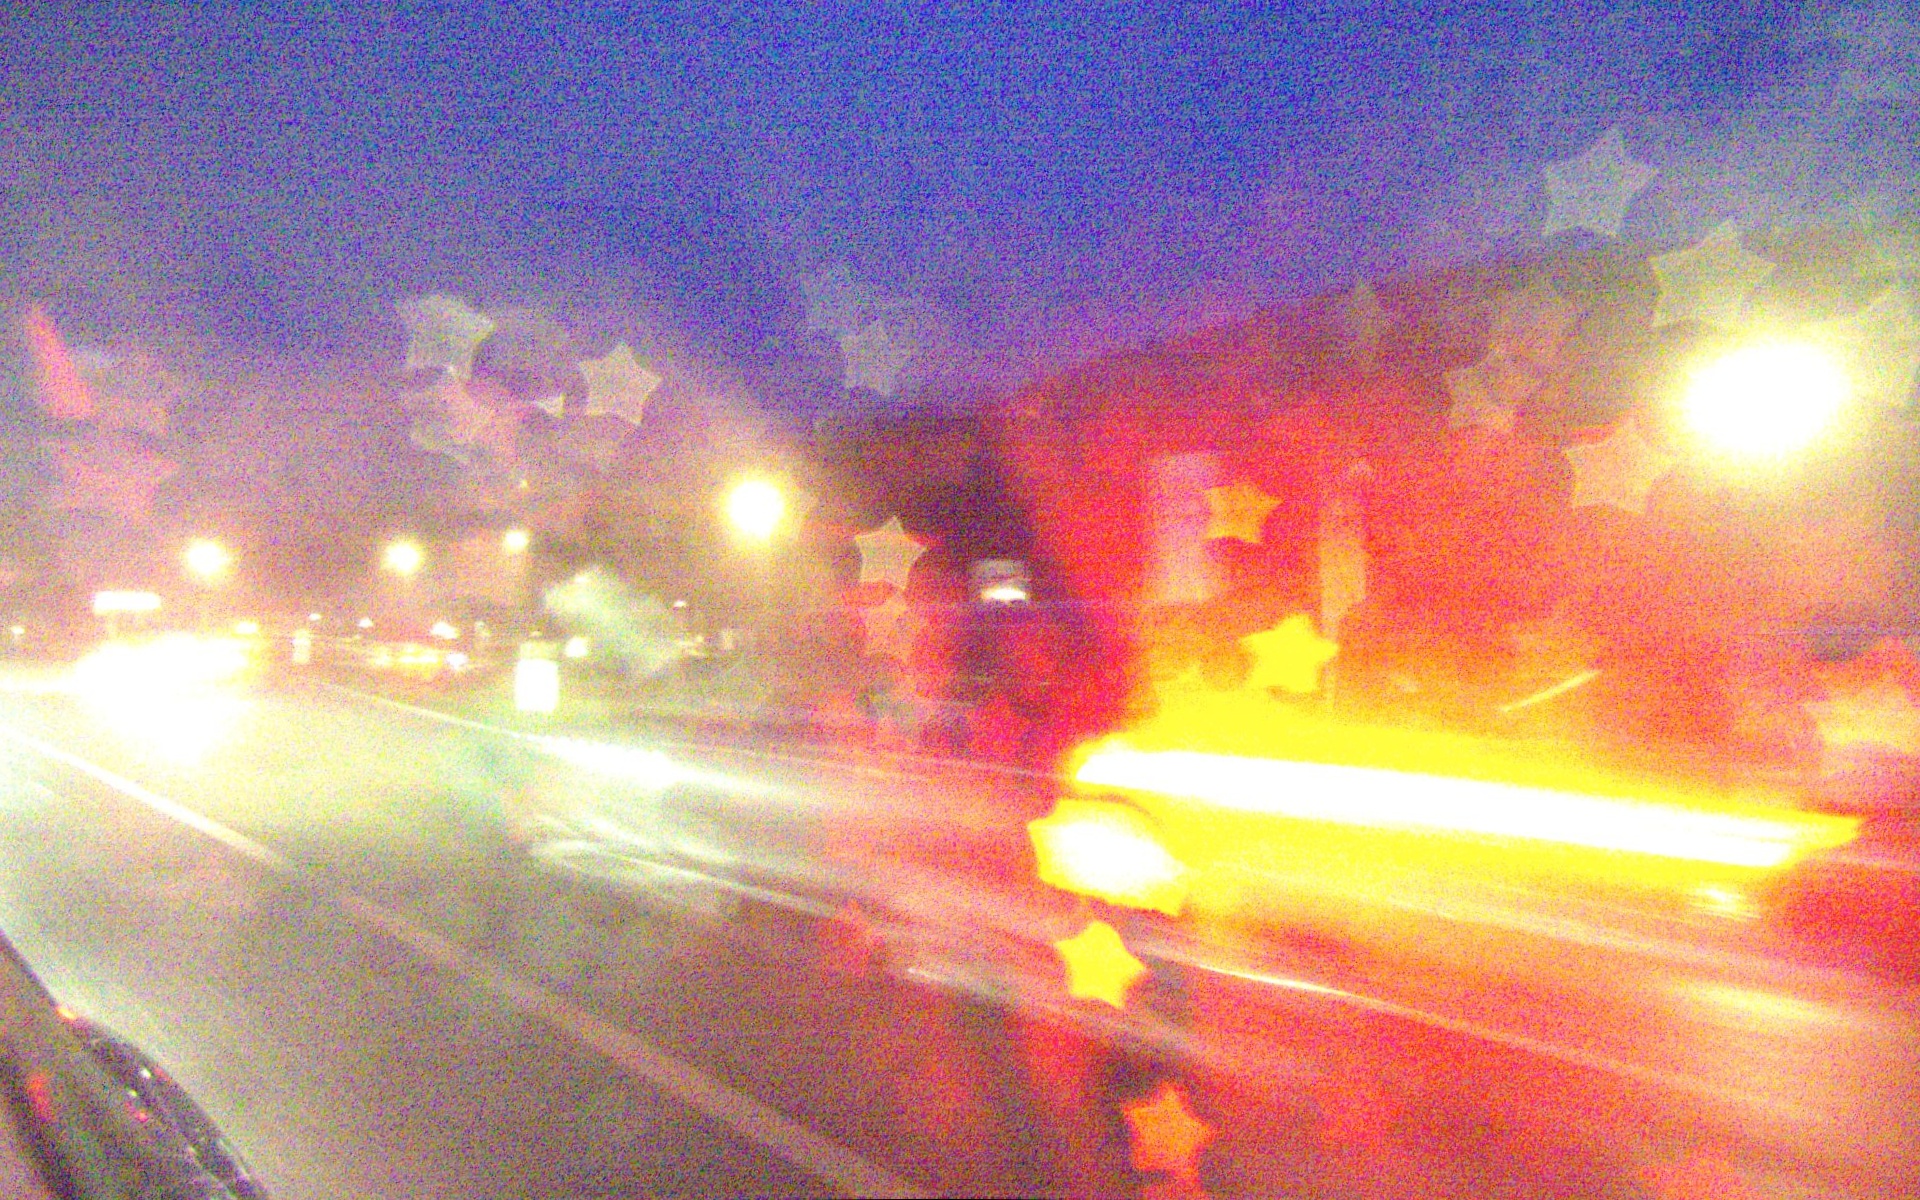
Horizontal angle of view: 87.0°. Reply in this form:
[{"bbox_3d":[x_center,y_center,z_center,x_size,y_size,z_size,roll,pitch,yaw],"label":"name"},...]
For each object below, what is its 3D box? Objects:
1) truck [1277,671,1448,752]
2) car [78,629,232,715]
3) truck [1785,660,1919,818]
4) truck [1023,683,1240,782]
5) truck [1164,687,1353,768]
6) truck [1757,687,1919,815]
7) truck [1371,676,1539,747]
[{"bbox_3d":[17.788,4.889,45.026,6.691,3.068,2.146,0,-6,40],"label":"truck"},{"bbox_3d":[-14.672,1.218,18.368,4.142,1.365,1.616,-2,-2,43],"label":"car"},{"bbox_3d":[23.656,3.352,23.388,7.042,3.506,2.443,0,-5,38],"label":"truck"},{"bbox_3d":[5.370,4.147,32.655,2.143,2.538,6.875,8,-6,-44],"label":"truck"},{"bbox_3d":[11.508,4.882,39.540,2.143,2.538,6.875,8,-6,-44],"label":"truck"},{"bbox_3d":[25.935,4.132,27.168,7.040,3.121,2.412,0,-5,37],"label":"truck"},{"bbox_3d":[23.451,5.236,48.140,6.865,2.825,2.146,0,-6,40],"label":"truck"}]
